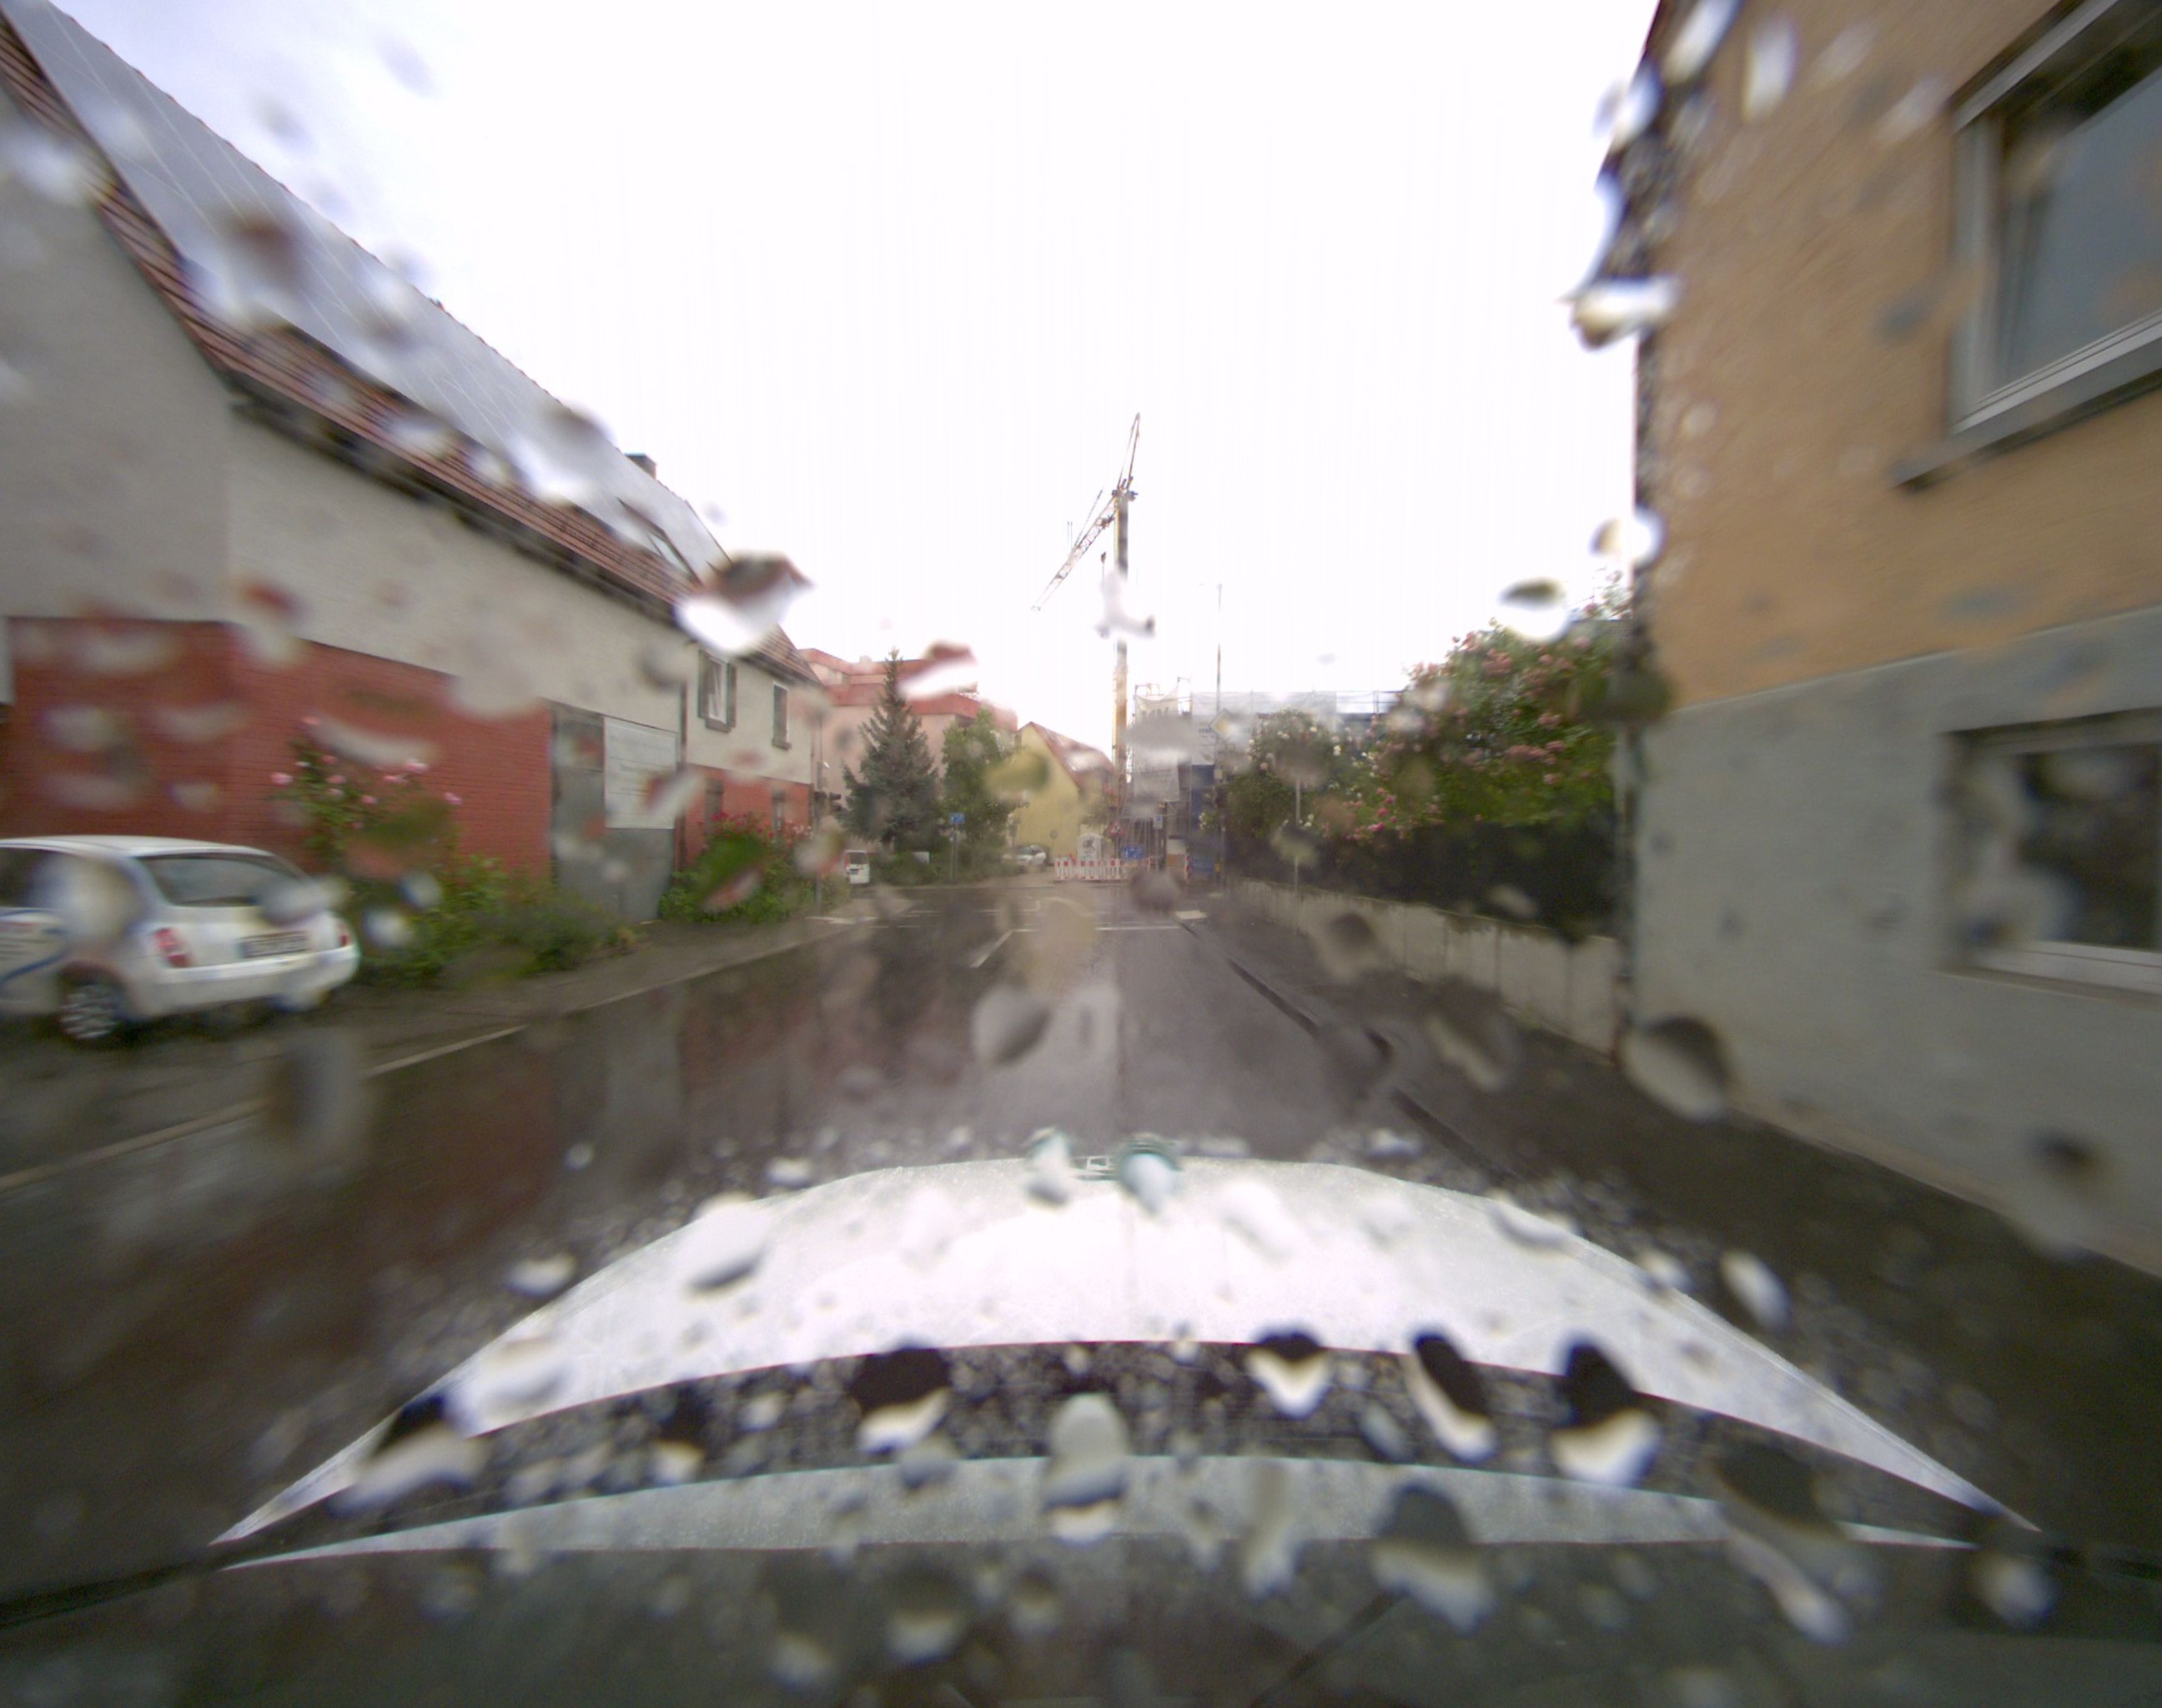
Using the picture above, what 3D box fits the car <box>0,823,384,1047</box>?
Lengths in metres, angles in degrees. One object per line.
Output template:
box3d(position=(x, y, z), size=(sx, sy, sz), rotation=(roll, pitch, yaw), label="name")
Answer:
box3d(position=(-8.294, 0.556, 6.756), size=(3.531, 1.529, 1.664), rotation=(2, 0, 2), label="car")

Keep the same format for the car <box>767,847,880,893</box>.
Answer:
box3d(position=(-10.808, 0.660, 34.261), size=(3.957, 1.869, 2.198), rotation=(0, -1, 16), label="car")

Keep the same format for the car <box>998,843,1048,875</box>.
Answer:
box3d(position=(-3.357, 0.252, 47.593), size=(1.588, 1.677, 3.956), rotation=(1, 2, 16), label="car")
